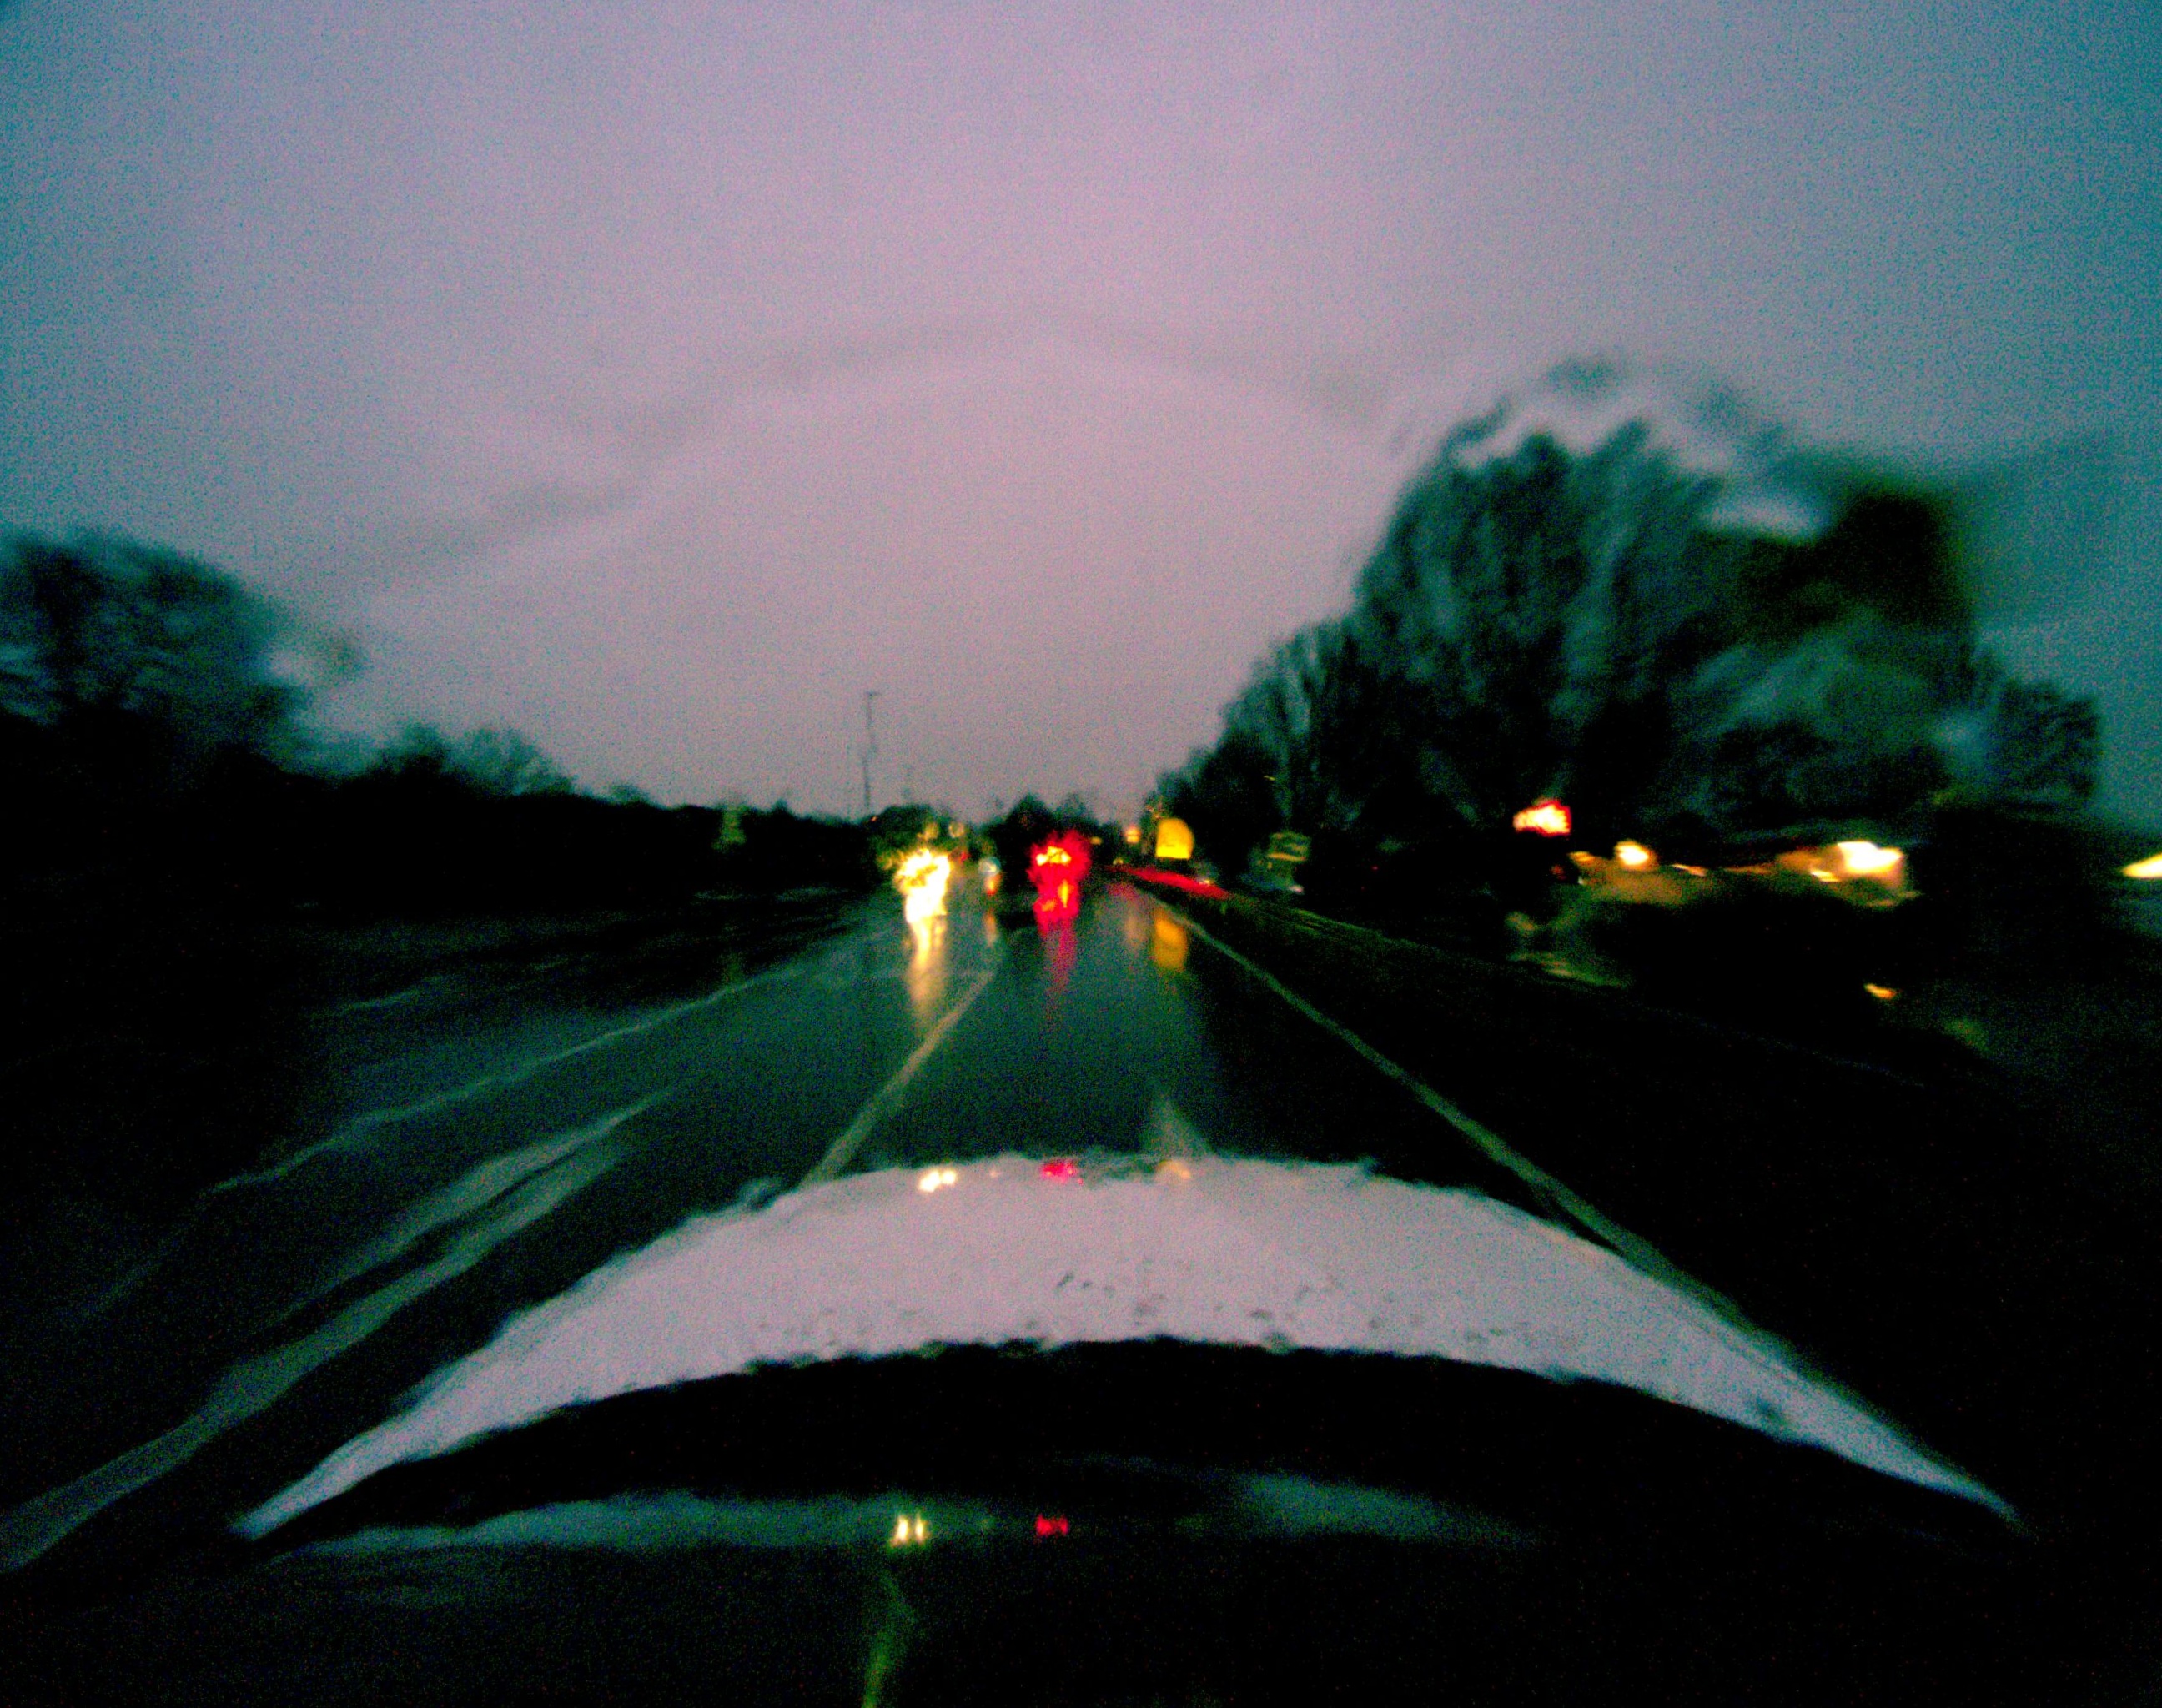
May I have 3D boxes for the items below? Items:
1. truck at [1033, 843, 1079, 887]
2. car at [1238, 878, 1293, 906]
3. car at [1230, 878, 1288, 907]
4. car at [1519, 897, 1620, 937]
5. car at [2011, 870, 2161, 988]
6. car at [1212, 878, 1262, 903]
[{"bbox_3d":[-1.784,0.710,56.023,2.530,2.869,5.906,1,0,-8],"label":"truck"},{"bbox_3d":[13.704,2.834,60.692,3.963,2.014,2.005,0,-3,9],"label":"car"},{"bbox_3d":[12.648,2.762,58.198,3.963,2.014,2.005,0,-3,9],"label":"car"},{"bbox_3d":[25.161,3.194,41.989,4.309,1.918,2.113,-2,-4,34],"label":"car"},{"bbox_3d":[26.801,1.800,19.597,5.561,2.777,2.112,-2,-5,44],"label":"car"},{"bbox_3d":[12.956,3.048,67.773,3.963,2.014,2.005,0,-3,9],"label":"car"}]
